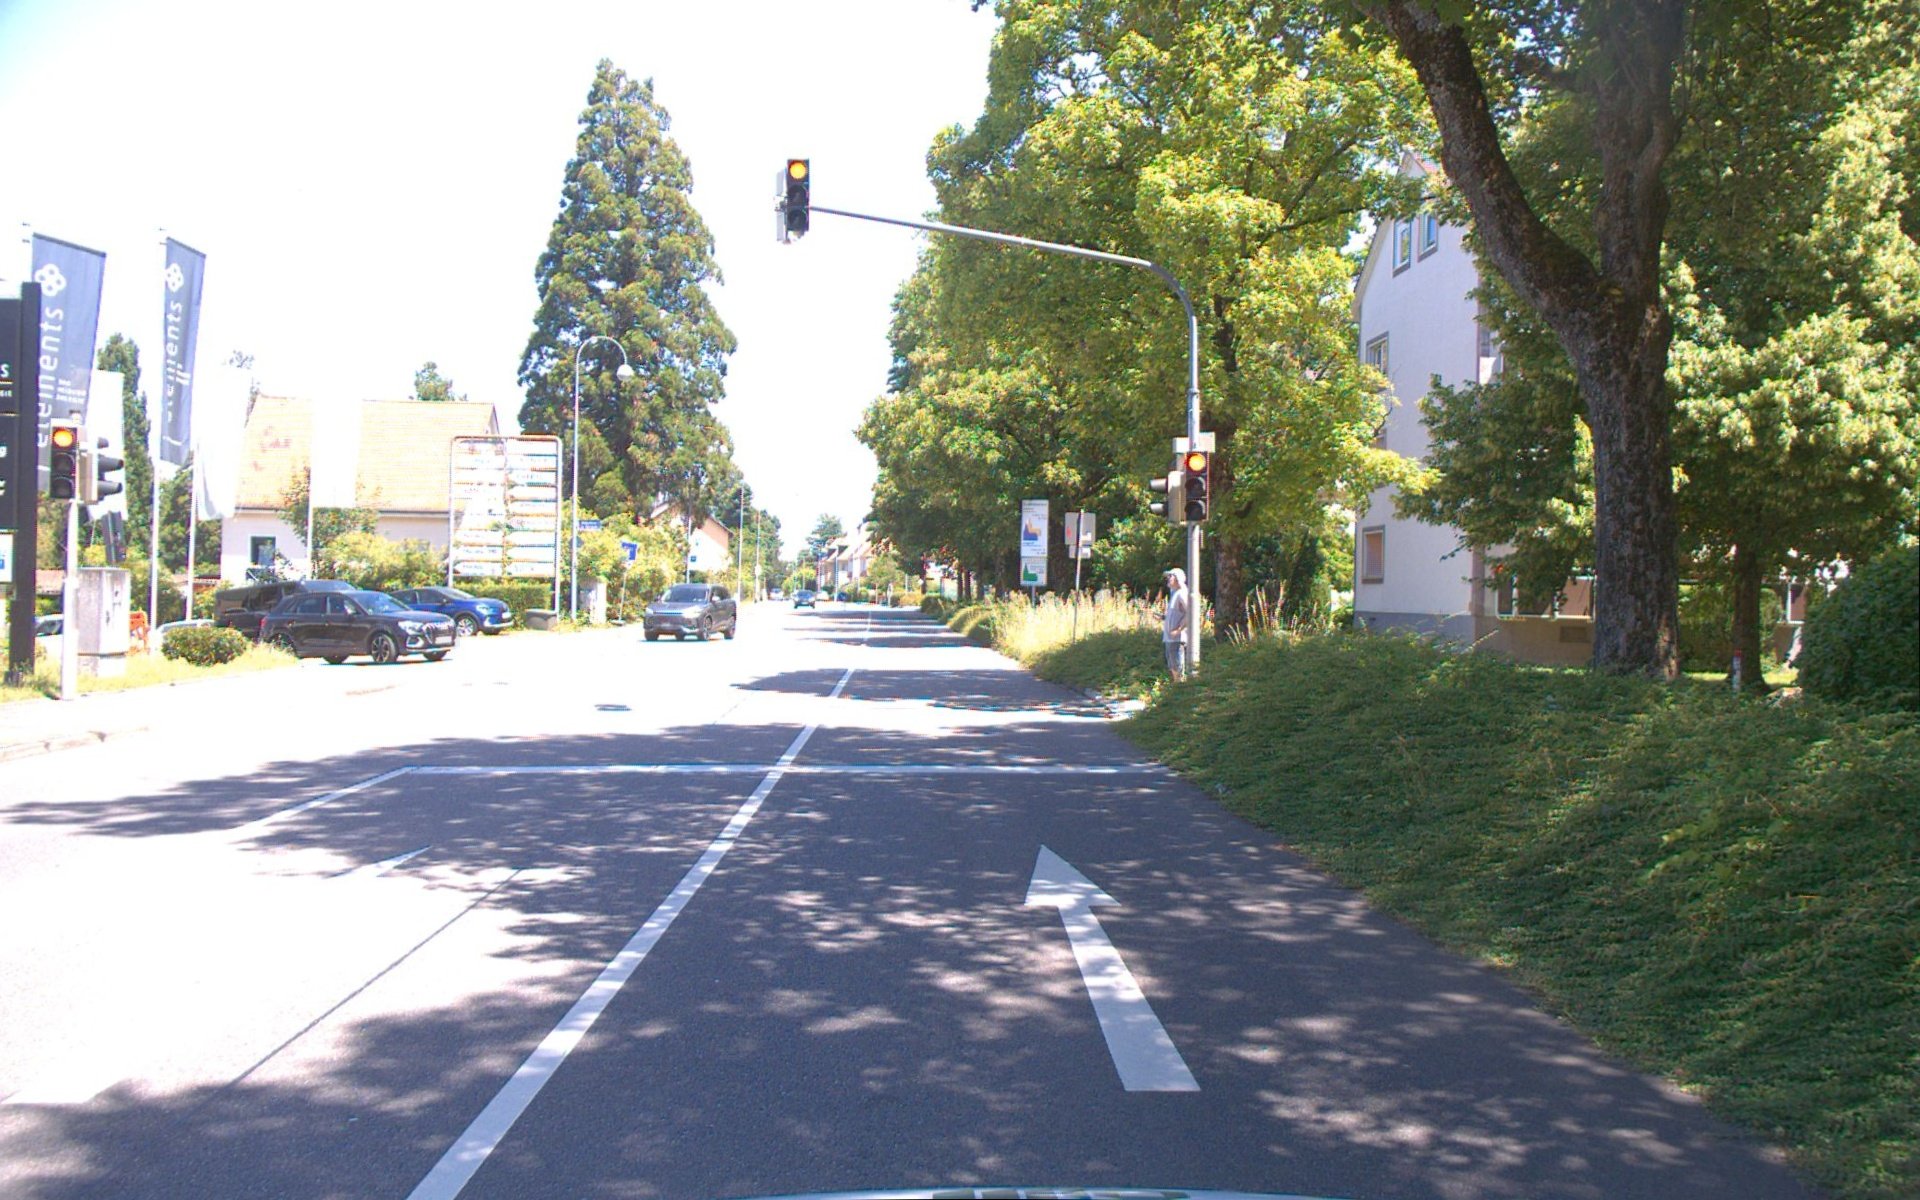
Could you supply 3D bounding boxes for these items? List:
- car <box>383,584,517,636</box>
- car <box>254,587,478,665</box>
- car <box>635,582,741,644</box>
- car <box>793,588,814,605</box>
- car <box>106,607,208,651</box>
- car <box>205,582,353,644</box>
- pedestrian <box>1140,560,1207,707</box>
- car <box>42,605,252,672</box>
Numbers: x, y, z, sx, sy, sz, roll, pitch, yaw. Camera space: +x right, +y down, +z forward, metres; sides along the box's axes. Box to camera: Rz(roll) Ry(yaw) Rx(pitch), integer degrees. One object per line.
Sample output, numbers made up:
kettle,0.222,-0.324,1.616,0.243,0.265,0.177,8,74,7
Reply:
car,-14.605,0.278,47.479,3.425,1.452,1.598,0,0,-8
car,-12.715,0.556,35.439,4.203,1.553,1.929,-1,-1,18
car,-7.998,0.359,49.071,1.839,1.747,4.313,1,0,9
car,-12.908,-0.290,136.673,1.402,1.345,3.354,1,0,0
car,-24.379,0.858,50.311,1.713,1.247,3.240,1,0,-5
car,-18.600,0.338,45.276,3.425,1.645,1.598,0,0,-8
pedestrian,2.633,0.406,20.409,0.554,1.781,0.610,1,-1,-27
car,-19.357,0.891,39.591,4.229,1.513,1.990,0,0,-18
